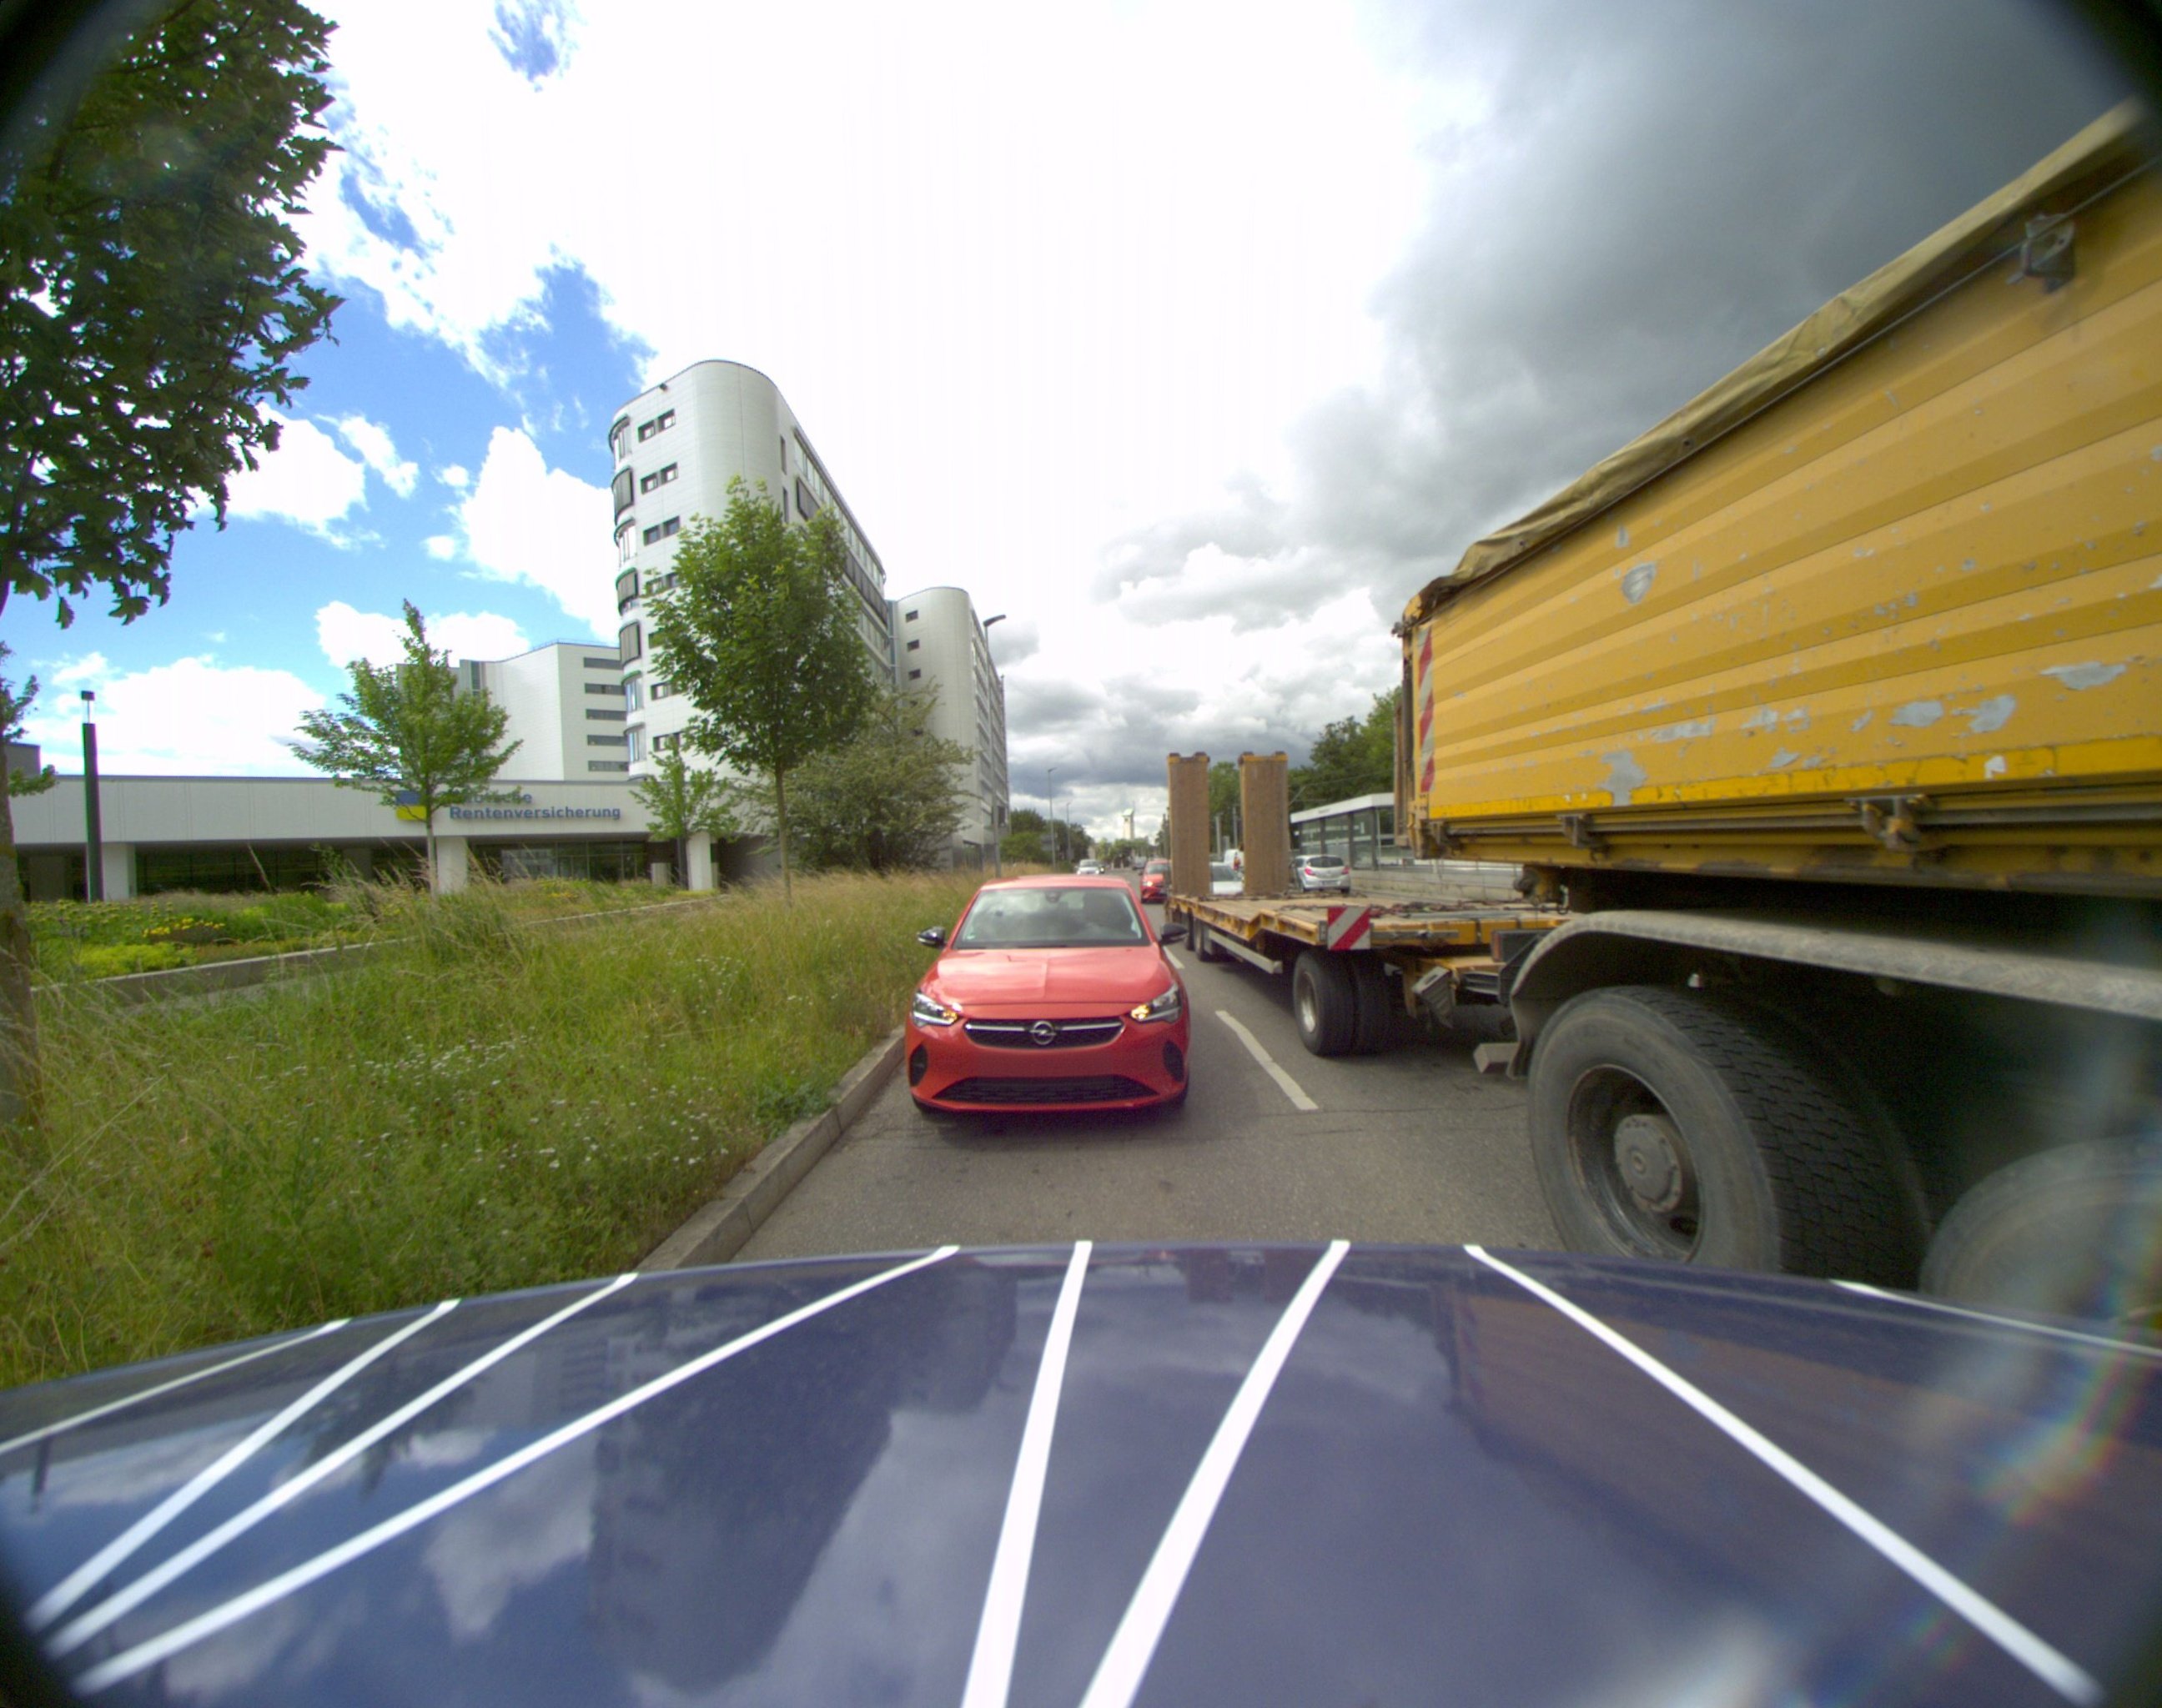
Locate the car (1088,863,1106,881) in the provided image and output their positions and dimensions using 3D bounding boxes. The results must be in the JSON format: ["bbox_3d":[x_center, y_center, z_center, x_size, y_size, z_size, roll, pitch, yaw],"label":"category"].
[{"bbox_3d":[1.892,2.097,90.242,1.998,2.002,4.000,-2,0,1],"label":"car"}]

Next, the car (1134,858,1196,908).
[{"bbox_3d":[2.810,0.921,26.116,1.692,1.471,3.999,-2,1,1],"label":"car"}]

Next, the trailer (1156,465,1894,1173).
[{"bbox_3d":[2.801,-0.166,9.326,2.713,3.501,10.914,-2,0,1],"label":"trailer"}]

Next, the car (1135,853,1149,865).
[{"bbox_3d":[8.601,0.694,107.324,1.770,1.489,3.554,-2,0,1],"label":"car"}]

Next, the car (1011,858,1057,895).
[{"bbox_3d":[-2.130,0.989,35.672,1.850,1.565,4.623,-2,0,0],"label":"car"}]

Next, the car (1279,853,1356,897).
[{"bbox_3d":[8.604,0.736,27.900,1.705,1.449,3.566,-2,0,1],"label":"car"}]

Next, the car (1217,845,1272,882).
[{"bbox_3d":[8.623,0.490,40.429,1.887,1.761,4.864,-2,0,1],"label":"car"}]

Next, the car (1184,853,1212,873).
[{"bbox_3d":[9.167,0.710,59.806,1.644,1.489,3.554,-2,0,1],"label":"car"}]

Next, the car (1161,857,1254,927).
[{"bbox_3d":[3.086,0.871,19.251,1.692,1.471,3.999,-2,1,1],"label":"car"}]

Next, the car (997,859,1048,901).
[{"bbox_3d":[-2.300,1.003,30.652,1.738,1.565,3.445,-2,0,0],"label":"car"}]

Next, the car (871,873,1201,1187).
[{"bbox_3d":[-0.211,0.986,6.029,1.692,1.471,3.999,-2,1,1],"label":"car"}]

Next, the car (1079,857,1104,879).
[{"bbox_3d":[0.781,1.028,57.327,1.738,1.565,3.445,-2,0,0],"label":"car"}]
